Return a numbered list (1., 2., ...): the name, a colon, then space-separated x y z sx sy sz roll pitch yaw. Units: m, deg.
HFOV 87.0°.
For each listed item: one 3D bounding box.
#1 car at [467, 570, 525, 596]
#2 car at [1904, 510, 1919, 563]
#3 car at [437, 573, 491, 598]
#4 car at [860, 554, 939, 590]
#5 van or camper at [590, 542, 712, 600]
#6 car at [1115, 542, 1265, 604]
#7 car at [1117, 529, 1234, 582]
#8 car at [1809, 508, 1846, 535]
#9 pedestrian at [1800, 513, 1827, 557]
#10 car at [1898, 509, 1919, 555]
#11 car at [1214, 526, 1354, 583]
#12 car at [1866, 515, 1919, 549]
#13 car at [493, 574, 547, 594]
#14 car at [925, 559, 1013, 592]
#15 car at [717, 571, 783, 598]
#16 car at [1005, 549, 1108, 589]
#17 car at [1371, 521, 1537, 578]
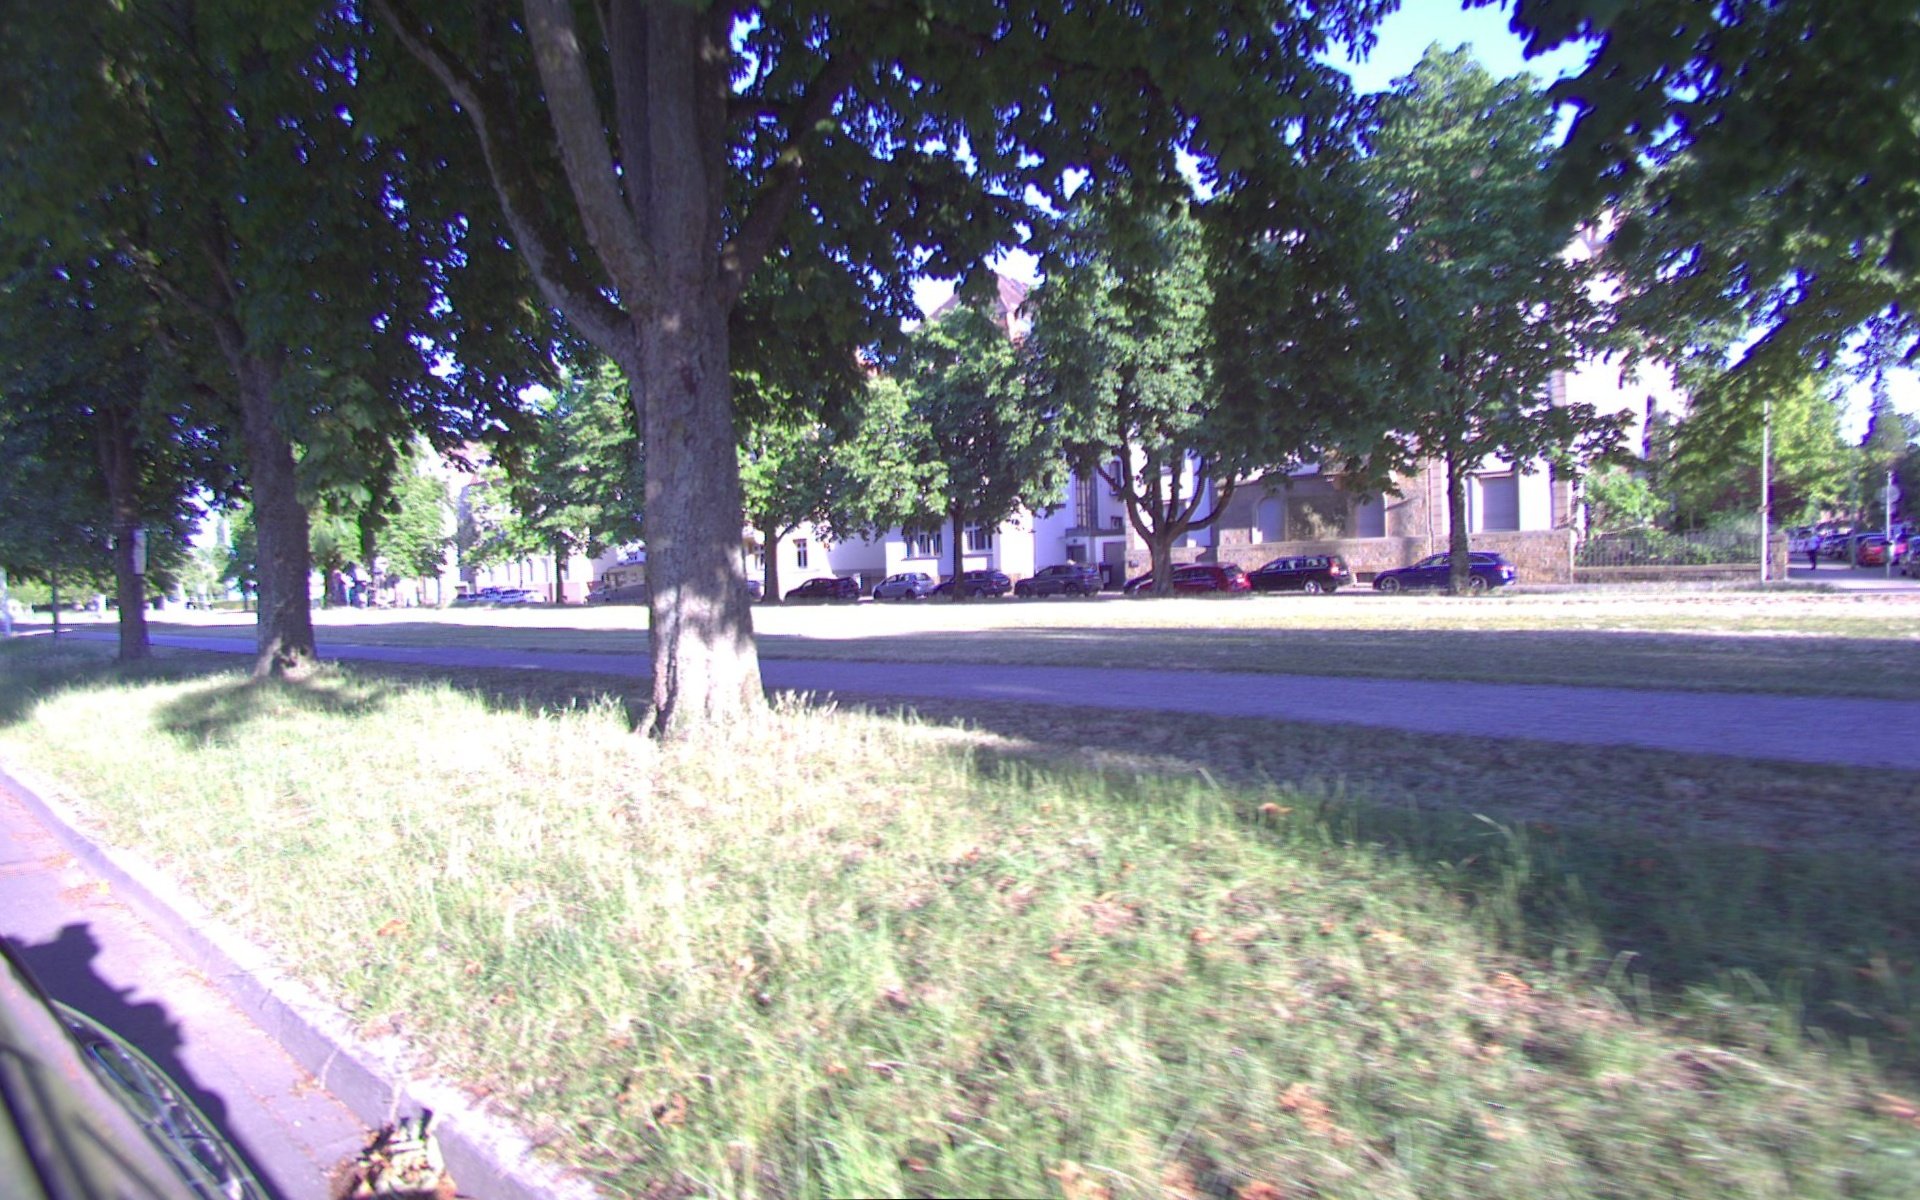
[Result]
1. car: -33.615 -1.251 73.236 4.874 1.702 1.973 0 3 42
2. car: 32.523 -2.213 33.209 1.999 1.619 4.804 -6 0 42
3. car: -37.713 -1.076 76.923 4.874 1.702 1.973 0 3 42
4. car: -3.260 -1.506 54.170 4.000 1.747 1.972 -1 3 43
5. van or camper: -18.490 -1.708 60.317 7.894 3.133 3.221 0 3 42
6. car: 8.204 -0.947 36.416 4.876 2.028 1.972 0 3 43
7. car: 9.188 -1.887 43.279 4.425 2.028 1.974 -1 3 40
8. car: 65.193 -5.924 76.105 1.998 1.864 3.948 -2 3 40
9. pedestrian: 36.477 -2.767 43.247 0.690 1.820 0.863 -2 3 27
10. car: 36.317 -2.603 37.468 2.188 1.619 4.804 -1 3 42
11. car: 12.715 -1.769 39.895 4.876 2.028 1.972 0 3 43
12. car: 45.638 -3.326 49.449 1.999 1.497 3.946 -1 3 42
13. car: -36.287 -1.305 83.383 4.870 1.464 1.974 -1 3 39
14. car: 0.428 -1.227 50.937 4.169 1.440 1.972 -1 2 43
15. car: -13.090 -0.937 63.089 3.998 1.475 1.973 -2 2 41
16. car: 4.480 -1.425 47.250 4.425 1.664 1.974 -1 3 40
17. car: 17.429 -1.773 35.831 5.000 1.762 1.975 -1 3 37
